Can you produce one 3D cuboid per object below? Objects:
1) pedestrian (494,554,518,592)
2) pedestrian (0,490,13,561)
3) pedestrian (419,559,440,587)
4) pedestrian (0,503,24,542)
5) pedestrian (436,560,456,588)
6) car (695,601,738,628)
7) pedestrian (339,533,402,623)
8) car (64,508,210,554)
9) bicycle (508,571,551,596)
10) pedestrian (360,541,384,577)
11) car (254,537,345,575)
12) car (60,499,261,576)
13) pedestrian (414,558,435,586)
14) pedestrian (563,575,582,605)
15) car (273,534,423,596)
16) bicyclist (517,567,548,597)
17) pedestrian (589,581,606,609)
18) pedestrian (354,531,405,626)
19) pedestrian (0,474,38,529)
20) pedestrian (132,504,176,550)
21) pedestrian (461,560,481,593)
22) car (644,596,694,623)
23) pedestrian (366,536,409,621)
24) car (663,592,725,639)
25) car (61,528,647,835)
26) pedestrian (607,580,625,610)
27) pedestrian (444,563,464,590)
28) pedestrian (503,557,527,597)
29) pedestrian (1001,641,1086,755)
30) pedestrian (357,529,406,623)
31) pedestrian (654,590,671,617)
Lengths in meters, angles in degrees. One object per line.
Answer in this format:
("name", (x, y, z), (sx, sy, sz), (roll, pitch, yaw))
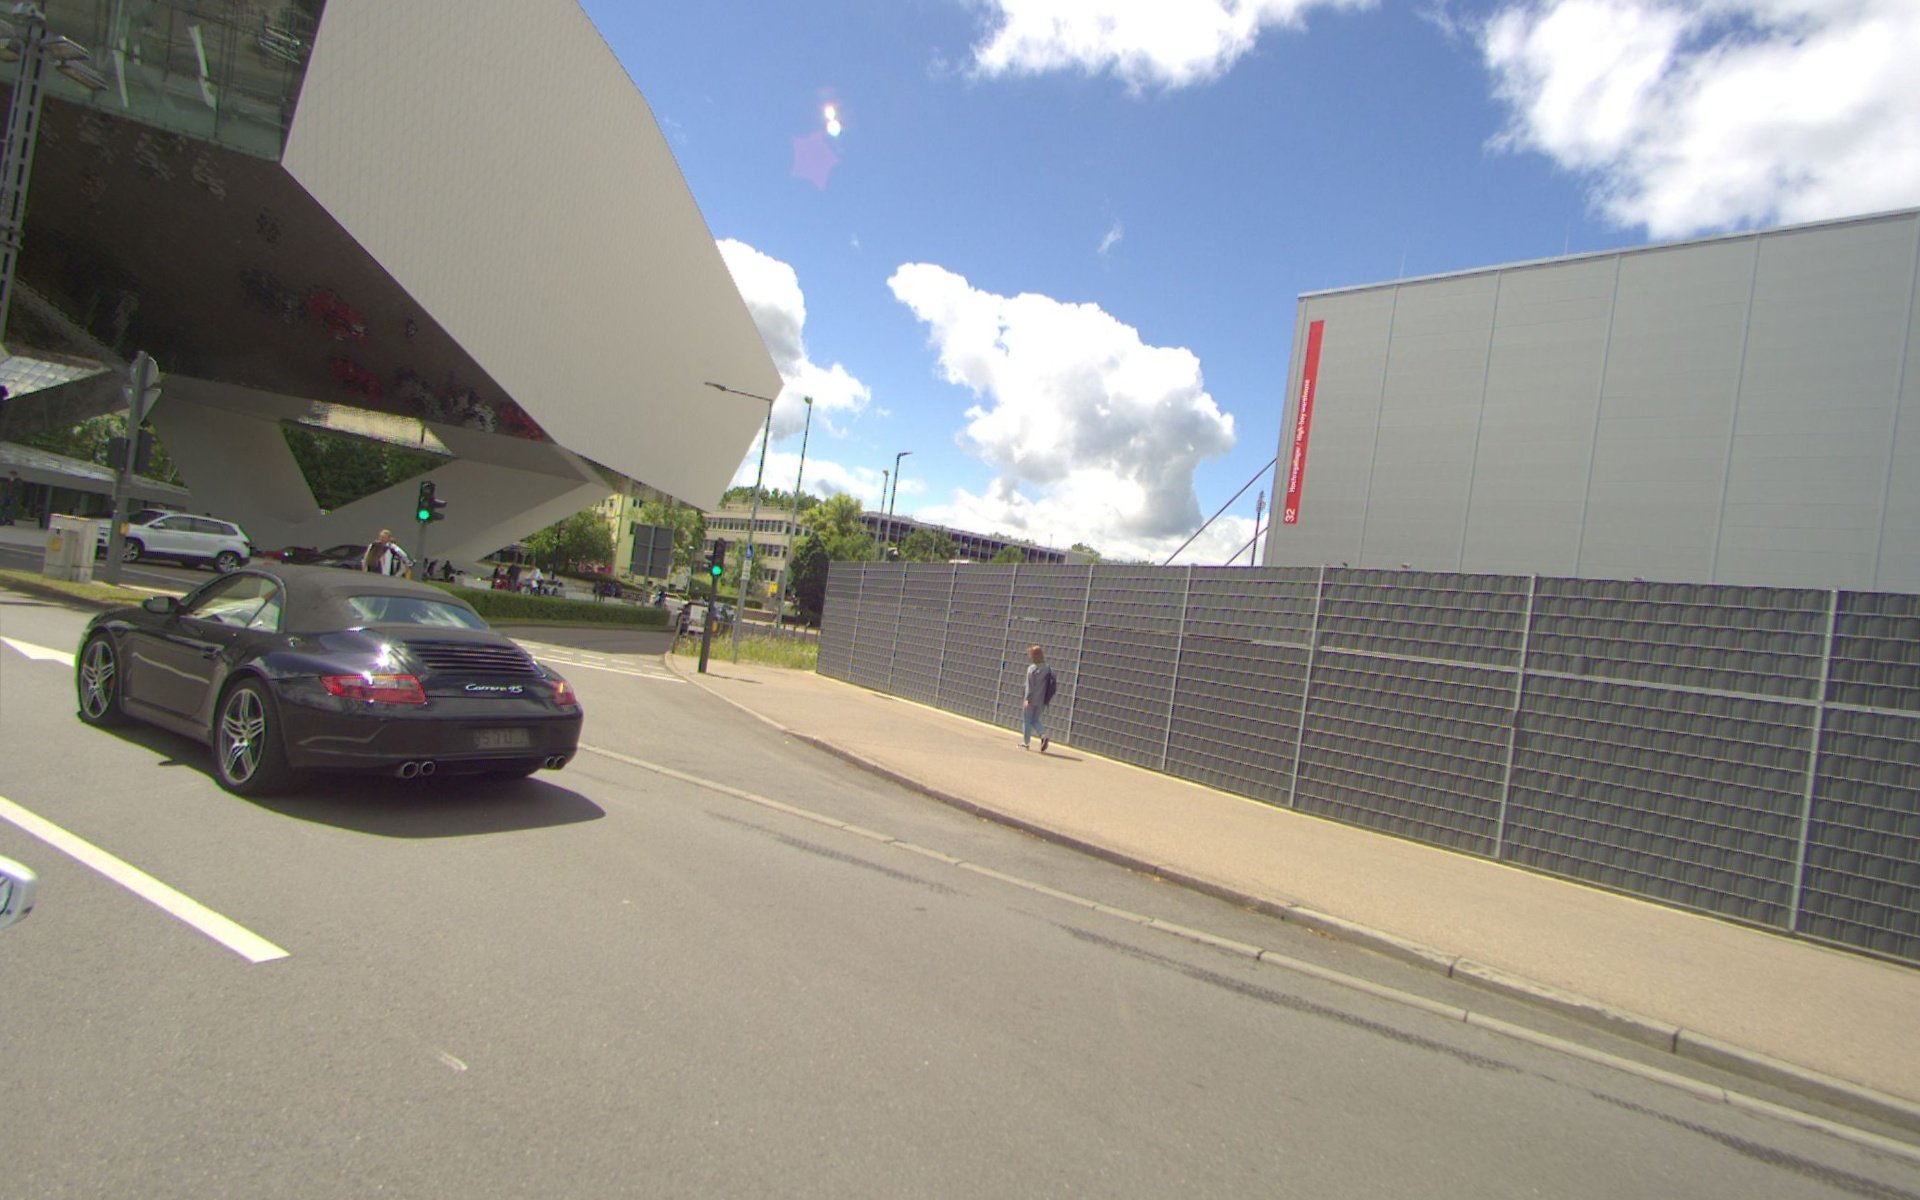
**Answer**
("pedestrian", (-26.229, -1.546, 58.079), (0.763, 2.036, 0.828), (7, -2, -3))
("pedestrian", (-21.244, -1.668, 21.758), (0.760, 1.513, 0.581), (8, -2, -17))
("pedestrian", (-36.332, -1.831, 68.930), (0.762, 1.758, 0.828), (7, -2, -1))
("pedestrian", (-42.162, -3.430, 44.336), (0.906, 1.590, 0.832), (7, -2, 12))
("pedestrian", (-35.389, -1.794, 69.284), (0.763, 1.758, 0.827), (7, -2, -8))
("car", (-19.139, 1.150, 79.244), (1.851, 1.661, 4.007), (7, -3, 7))
("pedestrian", (-11.579, -0.425, 19.775), (0.660, 1.656, 0.621), (7, -2, 1))
("car", (-37.415, -3.109, 45.862), (4.611, 1.234, 1.994), (9, -3, -18))
("bicycle", (-21.471, -0.818, 50.224), (0.705, 0.983, 2.362), (7, -3, 9))
("pedestrian", (-35.599, -2.472, 60.909), (0.763, 2.036, 0.828), (7, -2, -3))
("car", (-39.449, -2.592, 60.158), (1.967, 1.566, 3.997), (6, -4, 31))
("car", (-22.499, -1.723, 28.489), (1.804, 1.568, 4.000), (6, -1, 21))
("pedestrian", (-35.854, -1.860, 67.380), (0.763, 1.758, 0.828), (7, -2, -3))
("pedestrian", (-28.615, -0.721, 74.334), (0.762, 2.036, 0.829), (7, -2, 5))
("car", (-20.427, -1.128, 33.826), (1.803, 1.398, 4.165), (9, -3, 12))
("bicyclist", (-21.382, -0.895, 50.368), (0.870, 1.289, 1.009), (7, -2, 8))
("pedestrian", (-27.495, -0.380, 76.261), (0.763, 2.036, 0.828), (7, -2, -3))
("pedestrian", (-11.811, -0.425, 20.473), (0.665, 1.815, 0.616), (8, -2, -28))
("pedestrian", (-35.265, -3.675, 37.414), (0.906, 1.846, 0.832), (7, -2, 6))
("pedestrian", (-33.316, -3.022, 41.596), (0.906, 1.695, 0.832), (7, -2, 6))
("pedestrian", (-34.813, -1.664, 71.626), (0.762, 2.137, 0.828), (7, -2, -1))
("car", (-27.876, 0.906, 96.352), (4.158, 2.036, 1.991), (9, -3, -23))
("pedestrian", (-12.679, -0.477, 22.293), (0.600, 1.779, 0.616), (8, -2, -29))
("car", (-11.768, 0.731, 44.745), (1.966, 1.721, 3.999), (8, -3, -8))
("car", (-4.249, 0.415, 6.899), (3.935, 1.341, 1.836), (6, -1, 33))
("pedestrian", (-25.175, -0.373, 73.667), (0.763, 2.036, 0.828), (7, -2, -3))
("pedestrian", (-35.564, -1.623, 70.741), (0.762, 1.758, 0.828), (7, -2, 0))
("pedestrian", (-23.778, -1.245, 53.754), (0.771, 2.036, 0.820), (9, -3, -37))
("pedestrian", (1.280, 1.500, 15.447), (0.691, 1.604, 0.910), (9, -3, -43))
("pedestrian", (-12.203, -0.495, 21.227), (0.666, 1.867, 0.616), (8, -2, -30))
("pedestrian", (-24.002, 0.256, 81.216), (0.822, 2.036, 0.769), (9, -3, -39))
